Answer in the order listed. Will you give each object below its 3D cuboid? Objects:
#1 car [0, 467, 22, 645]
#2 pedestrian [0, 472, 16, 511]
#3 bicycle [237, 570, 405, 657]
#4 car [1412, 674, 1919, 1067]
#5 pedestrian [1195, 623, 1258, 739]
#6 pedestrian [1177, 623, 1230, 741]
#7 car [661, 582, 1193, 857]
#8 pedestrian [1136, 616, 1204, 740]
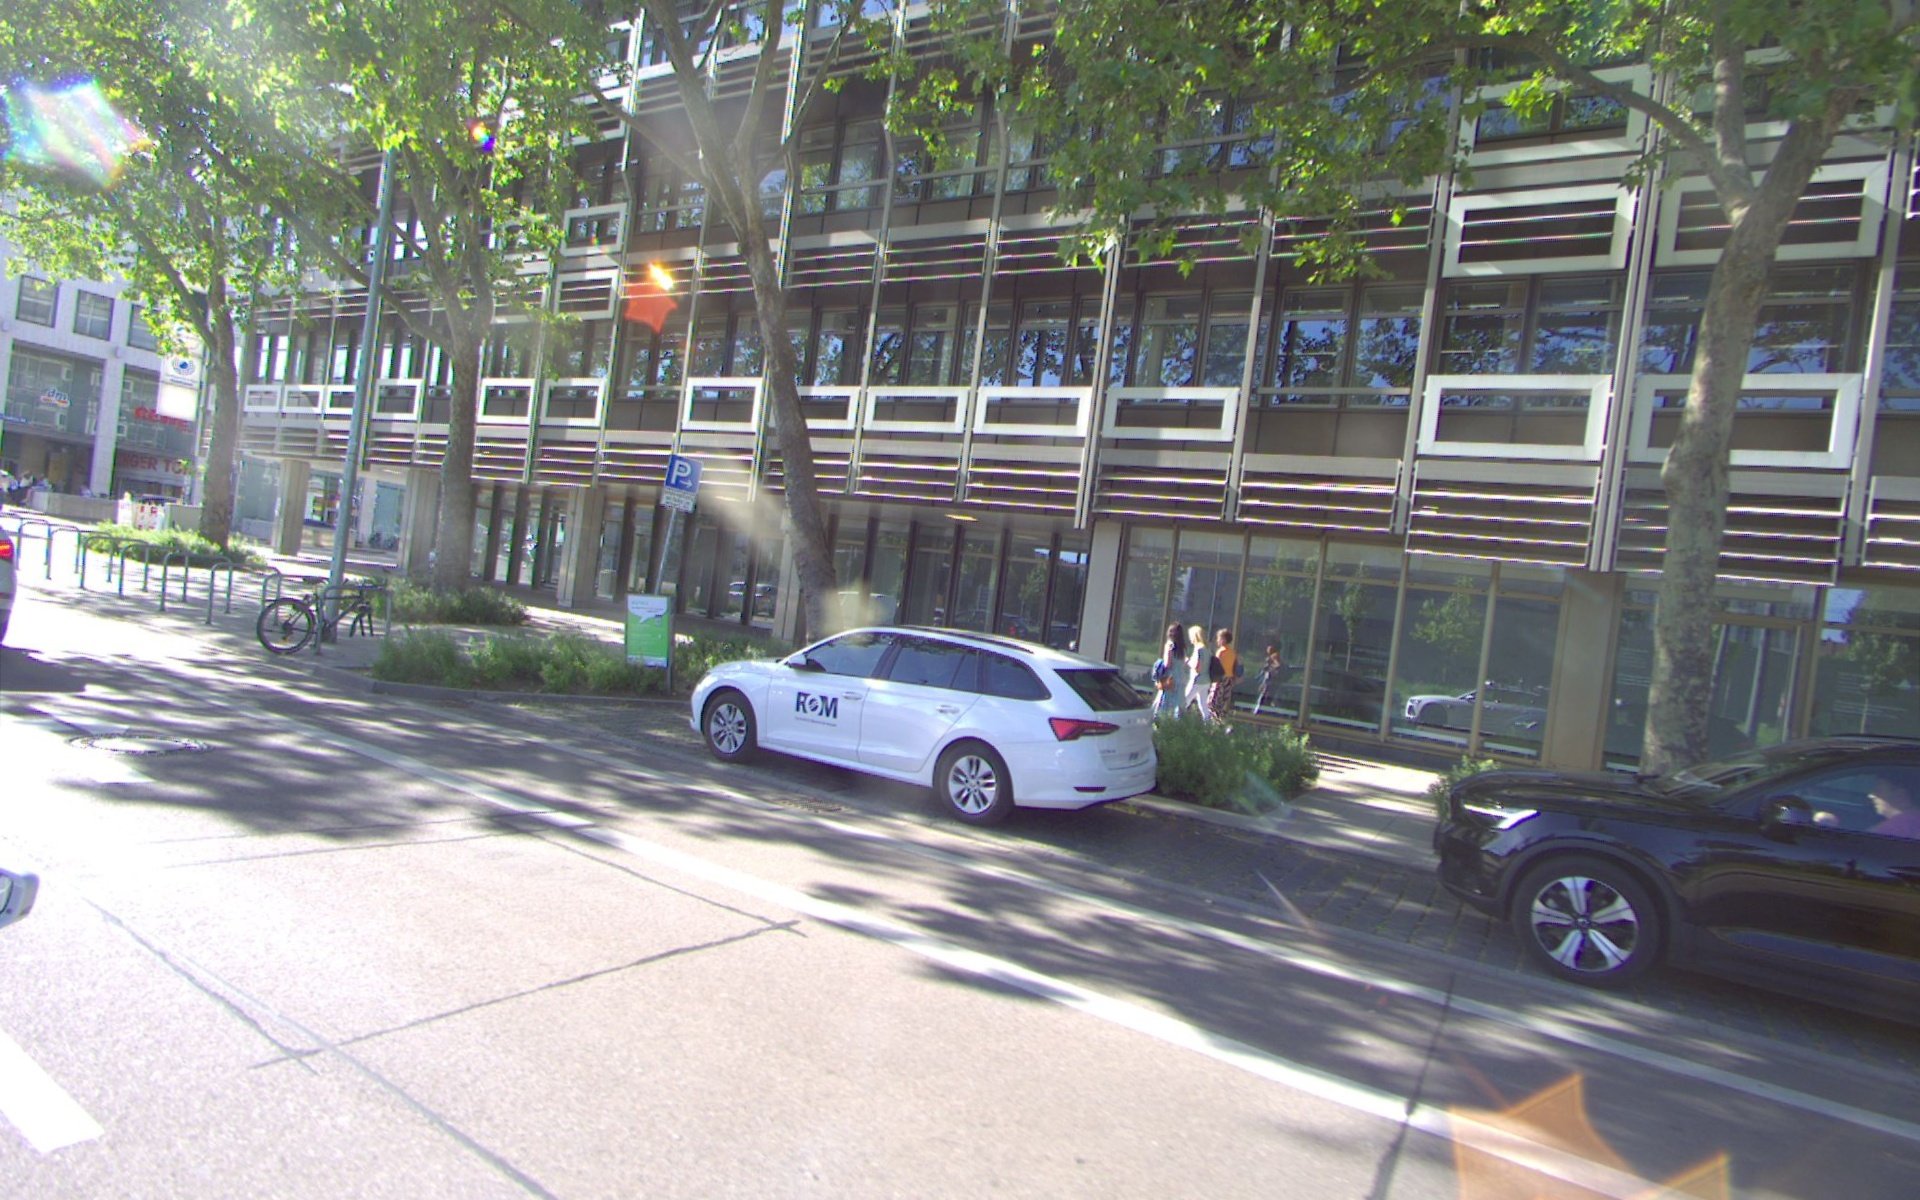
[{"bbox_3d":[-10.457,-0.630,9.184,4.118,1.637,1.724,8,0,33],"label":"car"},{"bbox_3d":[-38.199,-4.347,40.119,0.622,1.457,0.562,7,-2,38],"label":"pedestrian"},{"bbox_3d":[-7.896,0.194,12.516,0.470,0.969,1.696,8,1,27],"label":"bicycle"},{"bbox_3d":[5.011,1.532,5.730,4.122,1.582,1.707,7,0,32],"label":"car"},{"bbox_3d":[3.984,1.208,15.020,0.563,1.622,0.554,8,0,32],"label":"pedestrian"},{"bbox_3d":[3.488,1.169,14.411,0.492,1.604,0.316,8,1,23],"label":"pedestrian"},{"bbox_3d":[-0.421,0.917,9.171,4.523,1.510,1.707,8,0,32],"label":"car"},{"bbox_3d":[2.910,1.069,13.913,0.623,1.604,0.507,8,1,23],"label":"pedestrian"}]
